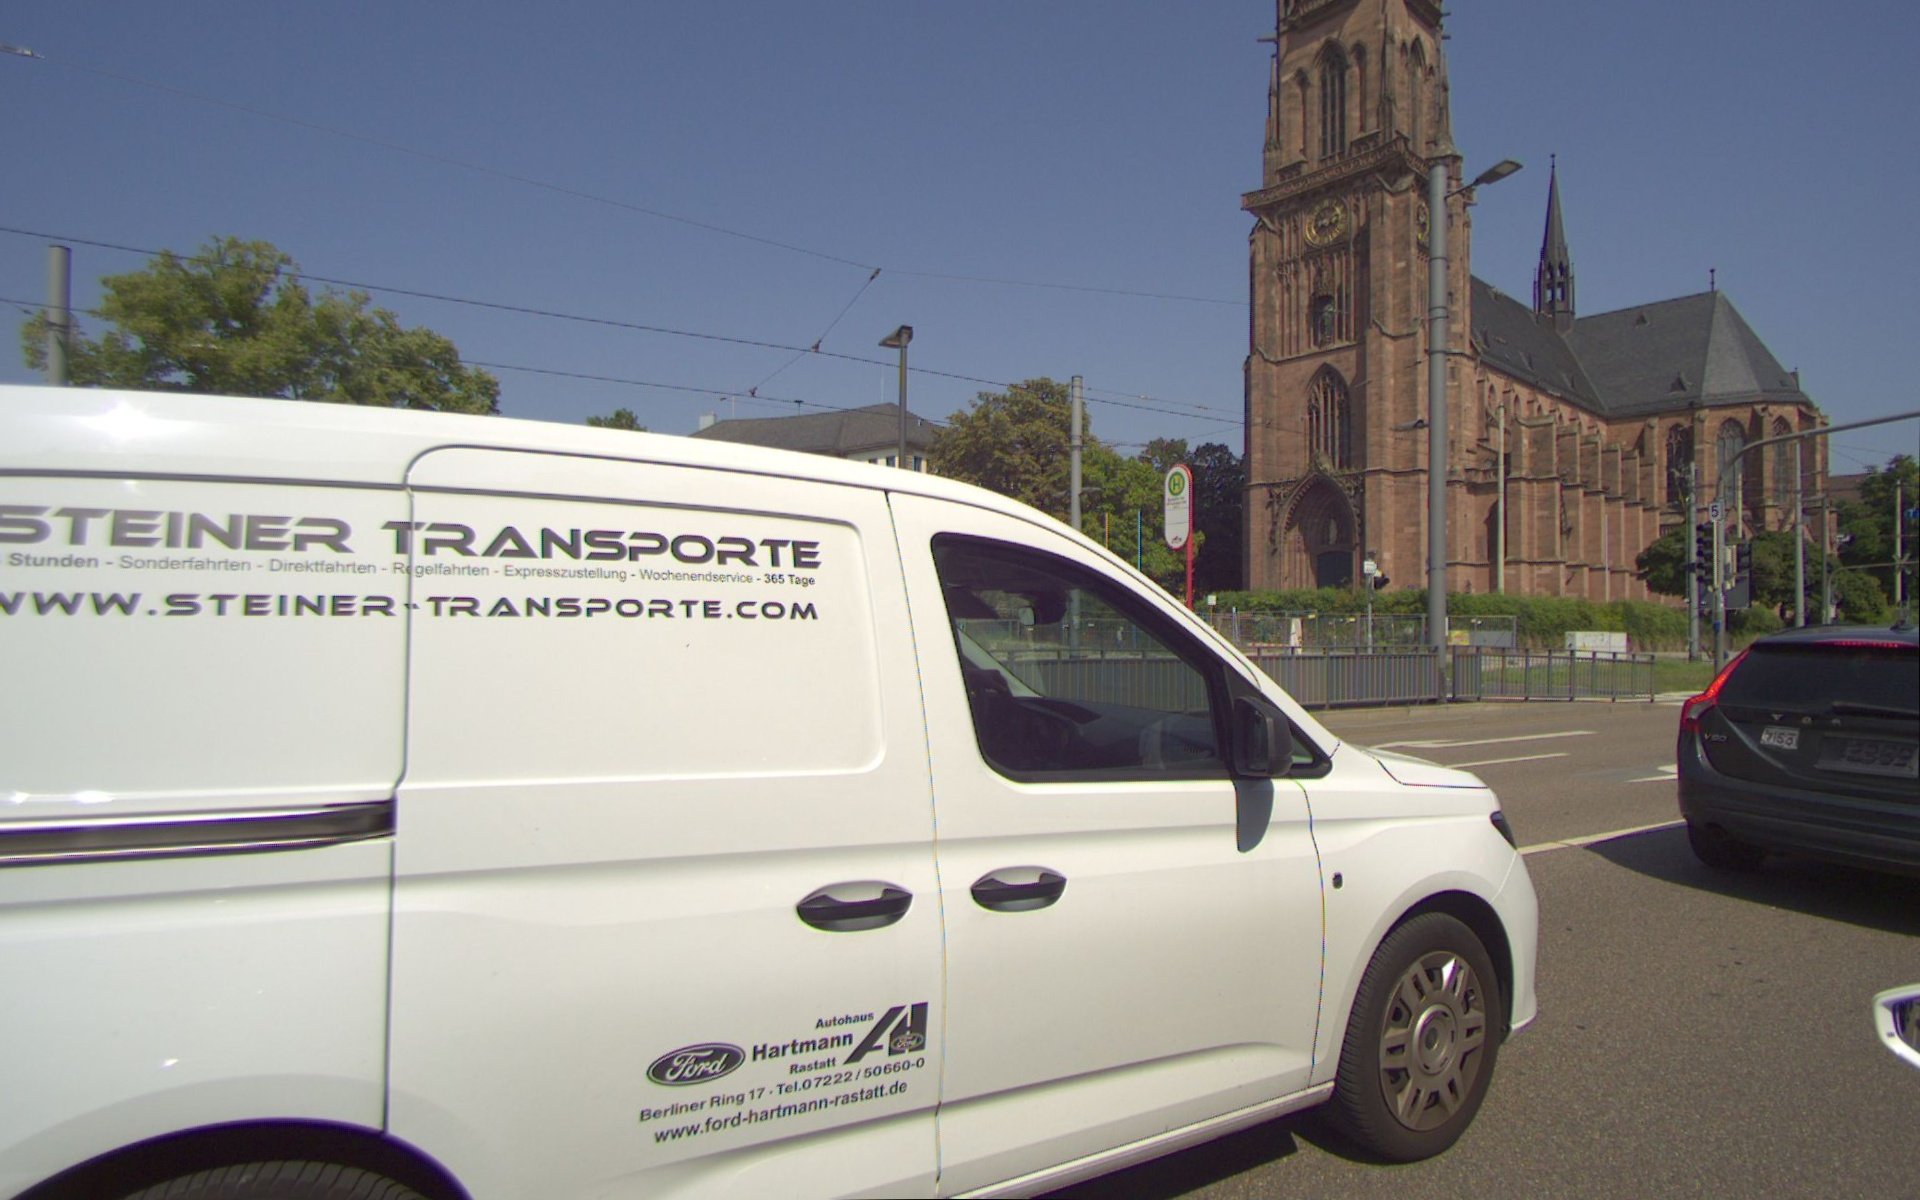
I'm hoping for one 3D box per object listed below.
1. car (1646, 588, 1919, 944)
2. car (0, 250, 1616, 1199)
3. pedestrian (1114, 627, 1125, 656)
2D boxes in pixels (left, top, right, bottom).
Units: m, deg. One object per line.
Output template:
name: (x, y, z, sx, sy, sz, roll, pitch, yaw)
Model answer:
car: (6.115, 0.798, 5.947, 4.257, 1.636, 1.739, 1, 0, -30)
car: (-0.244, 0.534, 2.752, 4.189, 1.844, 1.739, 1, -1, -30)
pedestrian: (8.455, 2.193, 53.275, 0.533, 1.551, 0.436, 0, -1, 5)
